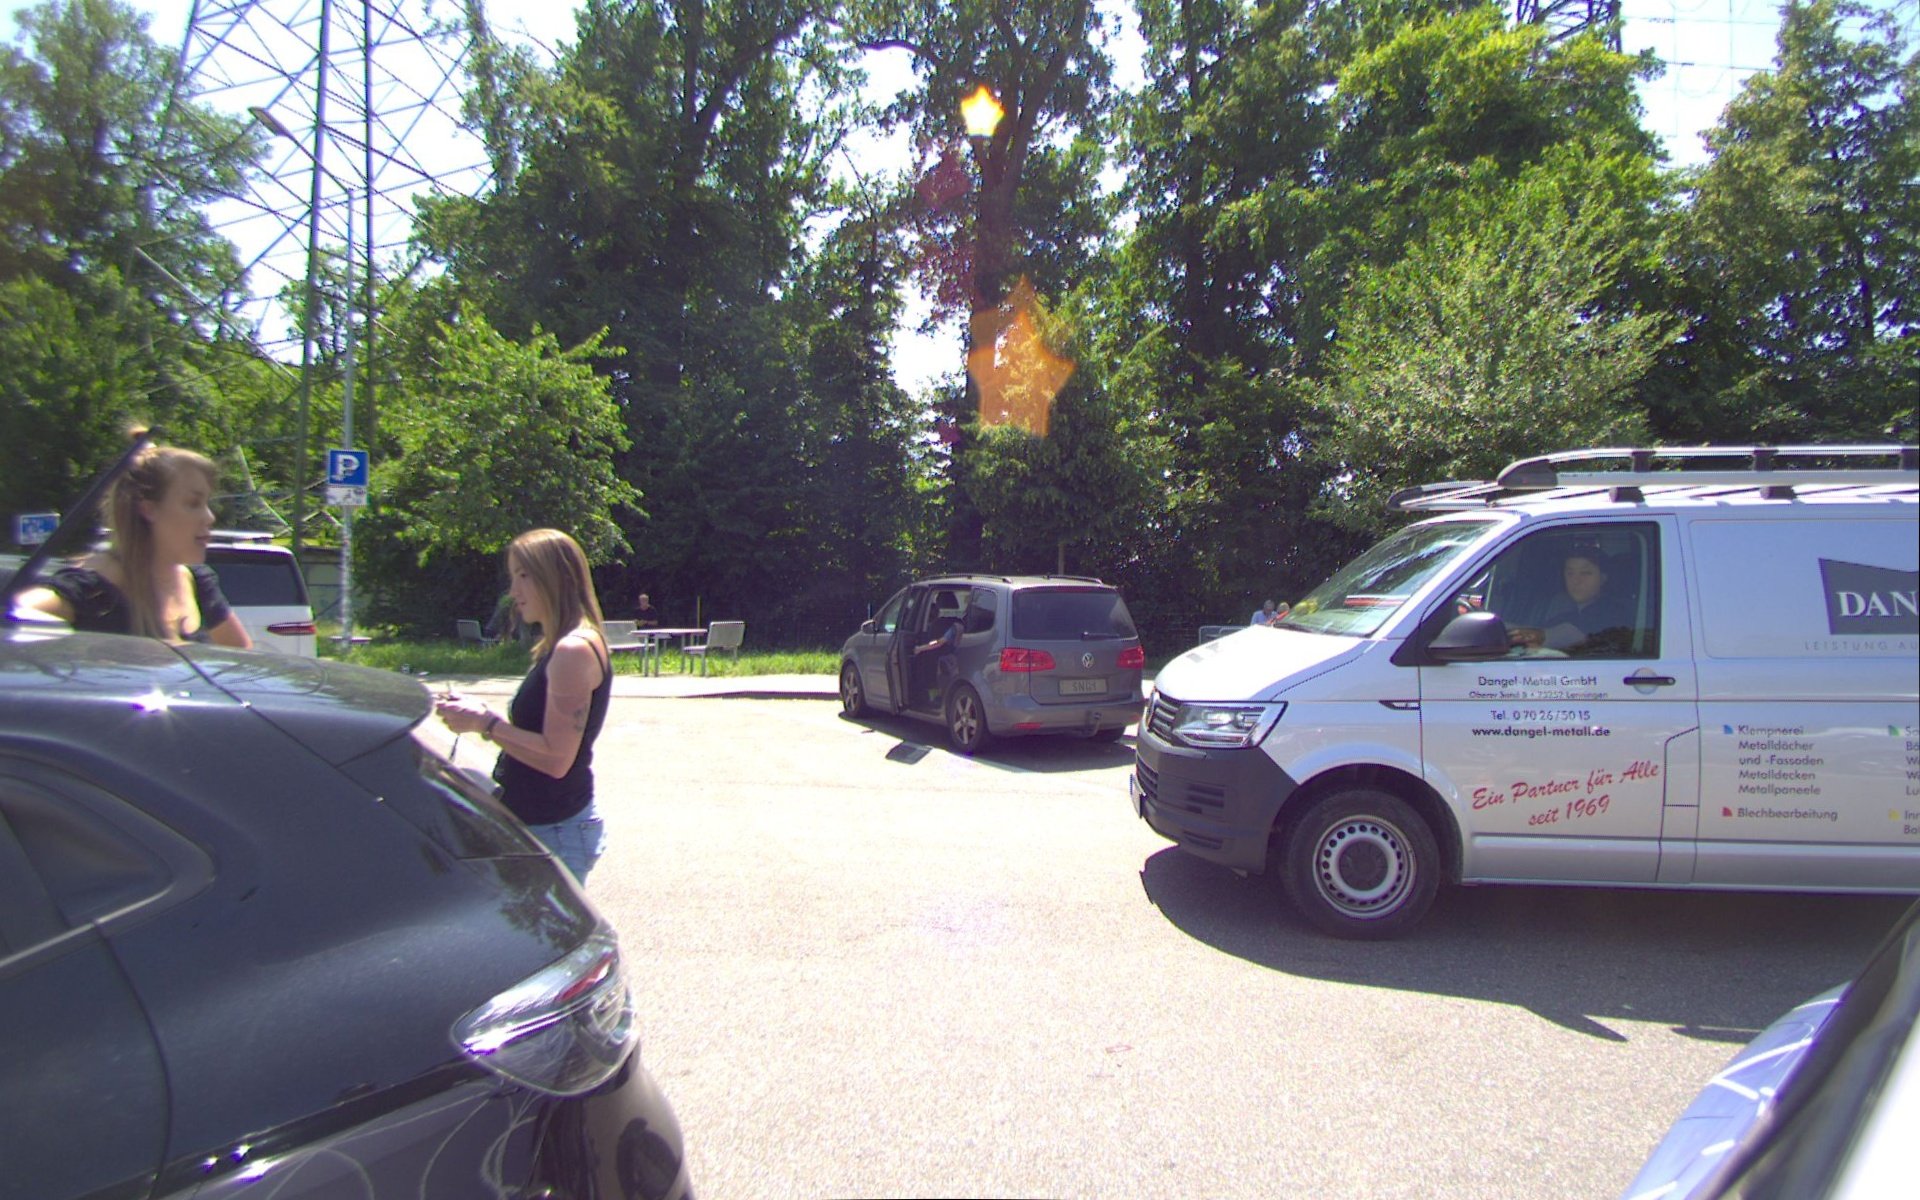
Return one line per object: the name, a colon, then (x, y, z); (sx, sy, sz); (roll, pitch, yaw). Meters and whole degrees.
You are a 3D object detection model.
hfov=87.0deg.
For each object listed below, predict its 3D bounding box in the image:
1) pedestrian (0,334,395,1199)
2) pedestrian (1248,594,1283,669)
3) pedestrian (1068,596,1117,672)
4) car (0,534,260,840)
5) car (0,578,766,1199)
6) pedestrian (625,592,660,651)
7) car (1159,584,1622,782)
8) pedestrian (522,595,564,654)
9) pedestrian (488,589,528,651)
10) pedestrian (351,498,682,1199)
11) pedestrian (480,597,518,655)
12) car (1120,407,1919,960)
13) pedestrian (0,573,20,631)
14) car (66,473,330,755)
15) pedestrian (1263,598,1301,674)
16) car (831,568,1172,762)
pedestrian: (-1.975, 0.425, 2.436); (0.758, 1.896, 0.918); (1, -1, -7)
pedestrian: (5.779, 0.586, 19.150); (0.495, 1.393, 0.491); (1, -1, 0)
pedestrian: (2.206, 0.569, 16.862); (0.660, 1.235, 0.682); (1, -2, -5)
car: (-6.765, 0.440, 5.944); (3.964, 1.644, 1.854); (1, 0, -16)
car: (-2.126, 0.713, 0.595); (1.615, 1.503, 3.706); (0, -1, 44)
pedestrian: (-6.684, 0.451, 21.311); (0.550, 1.229, 0.599); (1, -1, -1)
car: (3.849, 0.599, 9.651); (1.604, 1.476, 3.810); (0, 1, -34)
pedestrian: (-9.712, 0.567, 23.585); (0.722, 1.343, 0.669); (1, -1, -39)
pedestrian: (-10.944, 0.474, 24.522); (0.722, 1.478, 0.669); (1, -1, -39)
pedestrian: (-1.115, 0.572, 2.687); (0.635, 1.606, 0.655); (1, -1, -9)
pedestrian: (-10.432, 0.583, 22.888); (0.630, 1.287, 0.579); (1, -1, -39)
car: (3.521, 0.325, 5.023); (5.219, 2.177, 1.997); (1, -1, 5)
pedestrian: (-23.412, 0.048, 24.509); (0.599, 1.391, 0.705); (1, -1, 15)
car: (-8.064, 0.079, 10.634); (1.885, 2.353, 4.089); (0, 1, -40)
pedestrian: (5.690, 0.632, 17.904); (0.495, 1.316, 0.491); (1, -1, 0)
car: (0.219, 0.505, 10.558); (1.717, 1.611, 3.961); (0, 1, -30)
